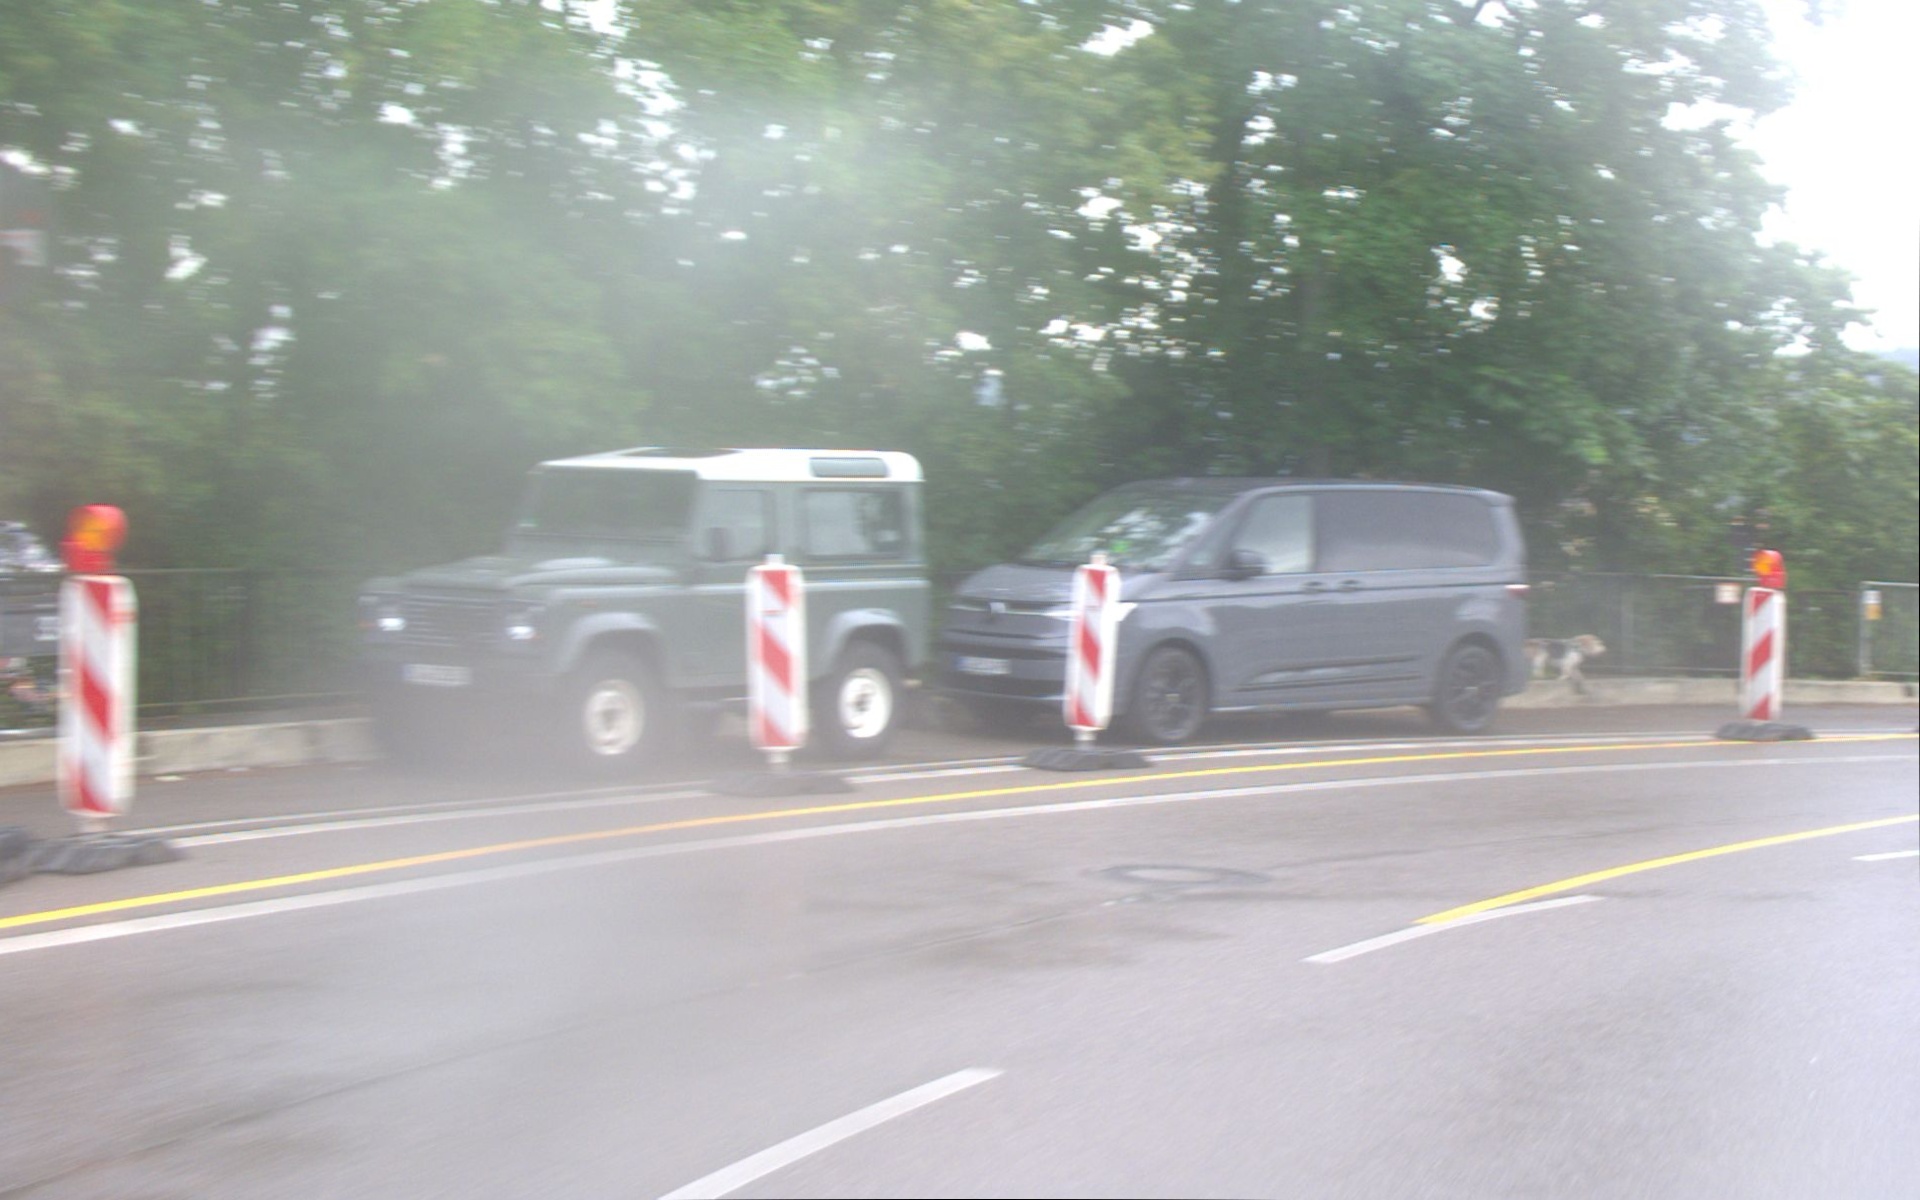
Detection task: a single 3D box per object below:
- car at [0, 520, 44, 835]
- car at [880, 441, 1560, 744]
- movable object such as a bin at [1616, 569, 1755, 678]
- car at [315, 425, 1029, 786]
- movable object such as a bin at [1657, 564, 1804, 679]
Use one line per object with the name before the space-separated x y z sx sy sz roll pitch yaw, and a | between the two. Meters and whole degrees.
car | -6.027 0.357 14.348 1.962 1.435 4.317 2 2 24
car | 2.009 -0.049 25.532 4.934 2.006 2.000 1 2 -39
movable object such as a bin | 7.528 0.235 35.692 1.024 1.103 0.989 0 1 -22
car | -1.685 -0.024 21.870 1.869 2.006 4.804 3 2 34
movable object such as a bin | 7.761 0.216 34.650 1.023 1.103 0.989 2 0 -22
